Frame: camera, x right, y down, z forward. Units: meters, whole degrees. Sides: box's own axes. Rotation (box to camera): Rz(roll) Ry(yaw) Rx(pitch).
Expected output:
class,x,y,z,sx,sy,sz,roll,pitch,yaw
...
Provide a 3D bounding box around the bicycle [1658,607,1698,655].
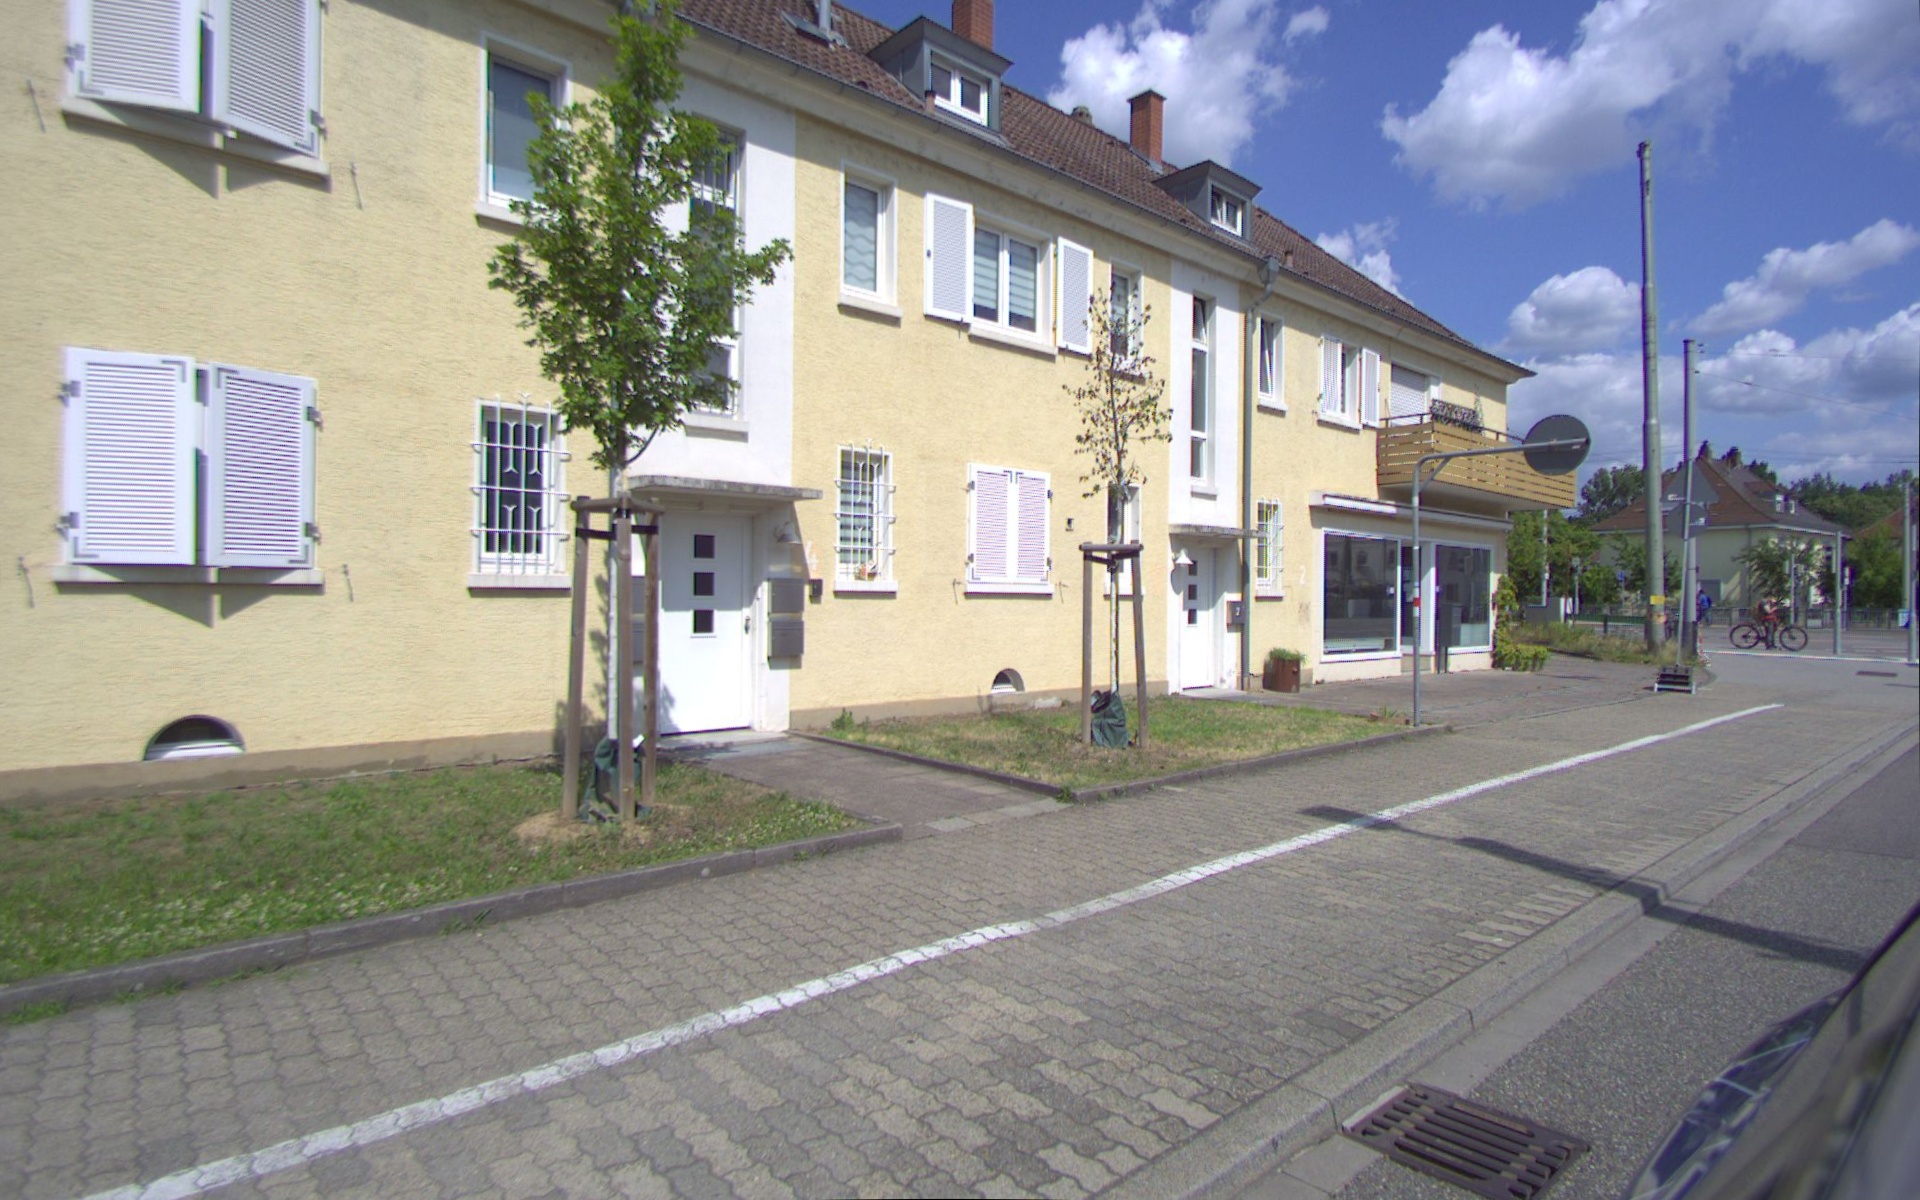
class,x,y,z,sx,sy,sz,roll,pitch,yaw
bicycle,17.943,0.742,25.315,0.590,1.110,2.253,0,1,30

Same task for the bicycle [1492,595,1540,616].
class,x,y,z,sx,sy,sz,roll,pitch,yaw
bicycle,37.411,0.351,68.140,0.612,1.351,2.797,1,0,-41

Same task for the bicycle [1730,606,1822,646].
class,x,y,z,sx,sy,sz,roll,pitch,yaw
bicycle,24.331,0.765,30.221,2.016,1.116,0.708,1,0,29

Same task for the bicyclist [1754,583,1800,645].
class,x,y,z,sx,sy,sz,roll,pitch,yaw
bicyclist,24.381,0.408,30.231,0.952,1.797,0.712,0,0,30

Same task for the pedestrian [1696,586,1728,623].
class,x,y,z,sx,sy,sz,roll,pitch,yaw
pedestrian,36.934,0.214,49.699,1.022,1.757,1.032,1,0,-38
